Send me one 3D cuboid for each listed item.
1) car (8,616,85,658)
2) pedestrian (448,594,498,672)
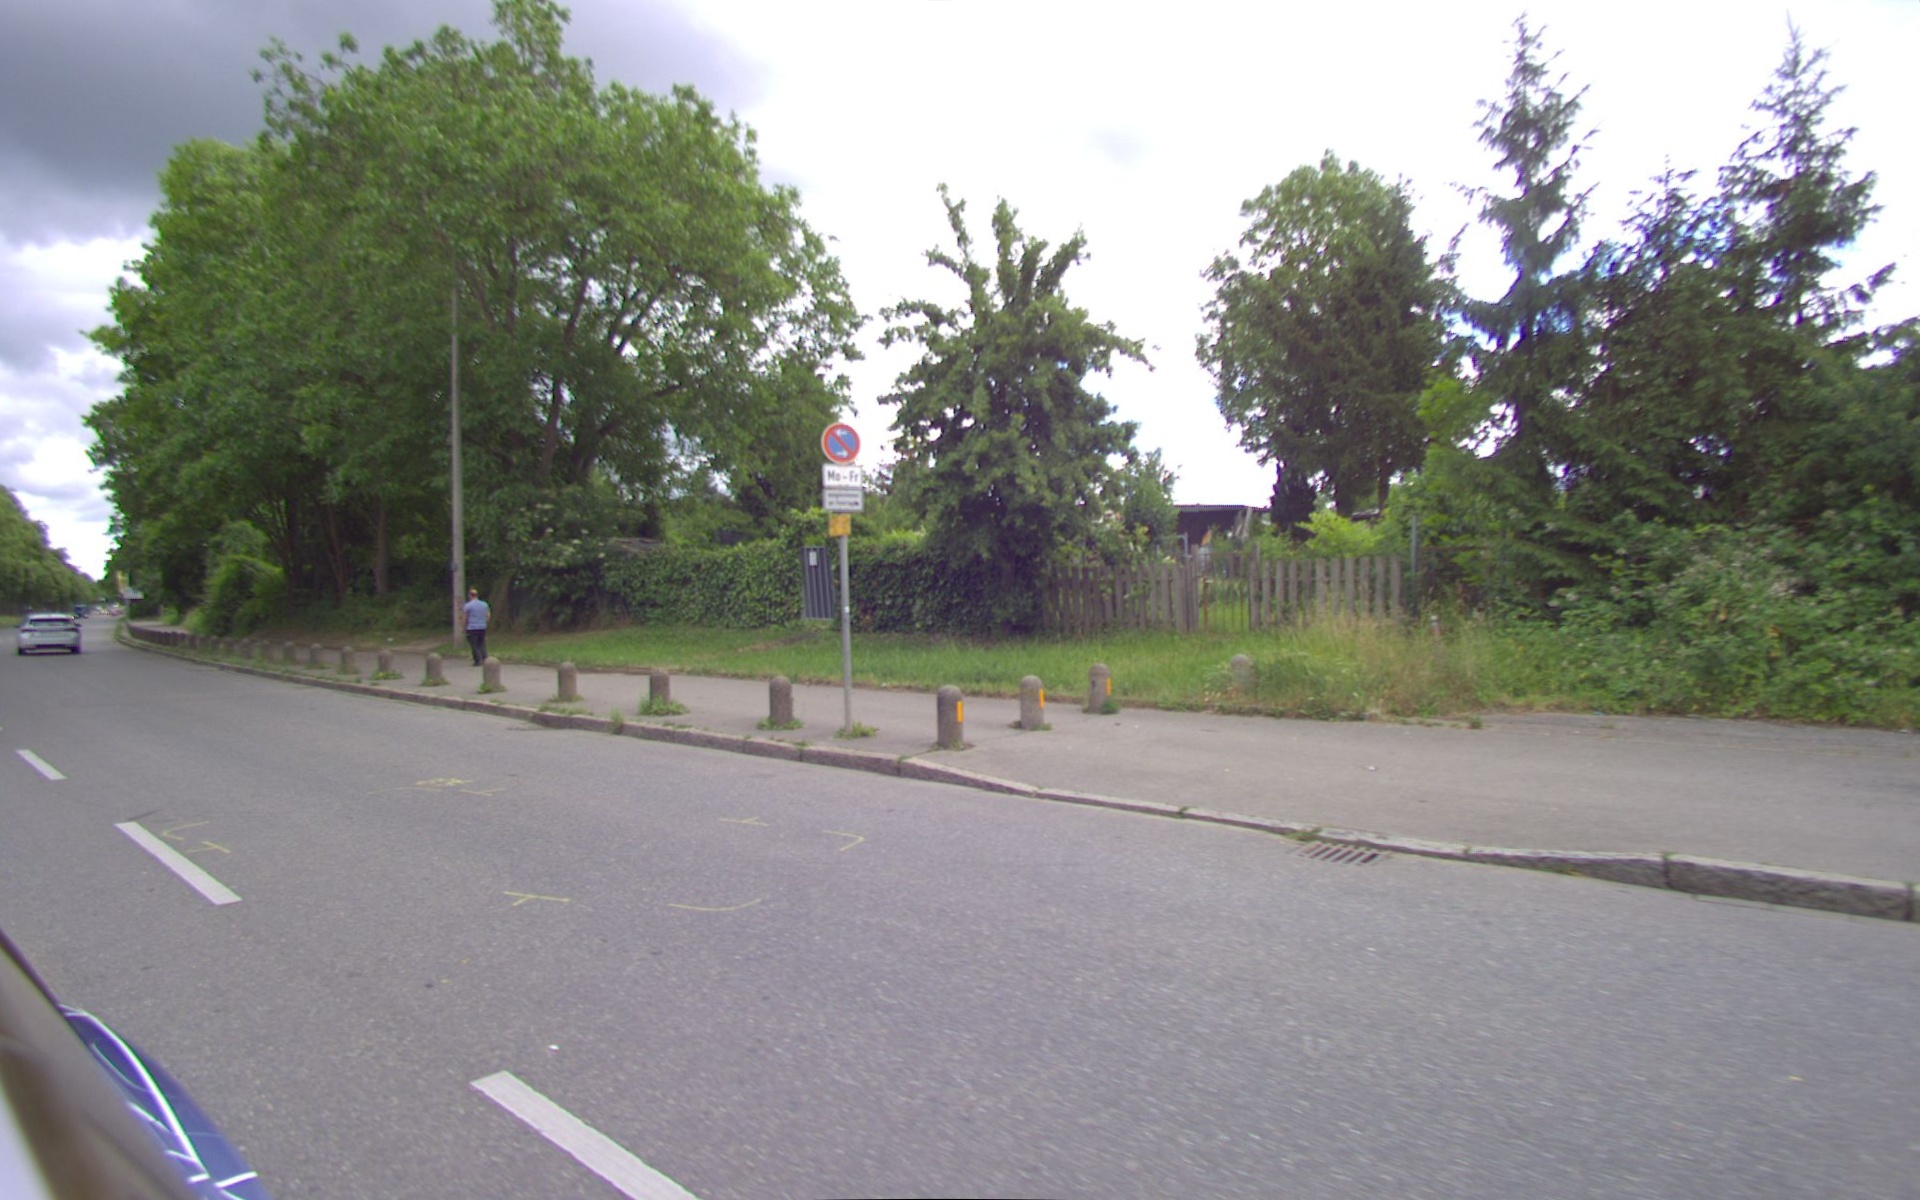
[{"bbox_3d":[-33.845,1.337,37.456,4.361,1.450,1.754,-1,-1,43],"label":"car"},{"bbox_3d":[-10.696,0.712,22.214,0.838,1.646,0.682,-1,1,44],"label":"pedestrian"}]
